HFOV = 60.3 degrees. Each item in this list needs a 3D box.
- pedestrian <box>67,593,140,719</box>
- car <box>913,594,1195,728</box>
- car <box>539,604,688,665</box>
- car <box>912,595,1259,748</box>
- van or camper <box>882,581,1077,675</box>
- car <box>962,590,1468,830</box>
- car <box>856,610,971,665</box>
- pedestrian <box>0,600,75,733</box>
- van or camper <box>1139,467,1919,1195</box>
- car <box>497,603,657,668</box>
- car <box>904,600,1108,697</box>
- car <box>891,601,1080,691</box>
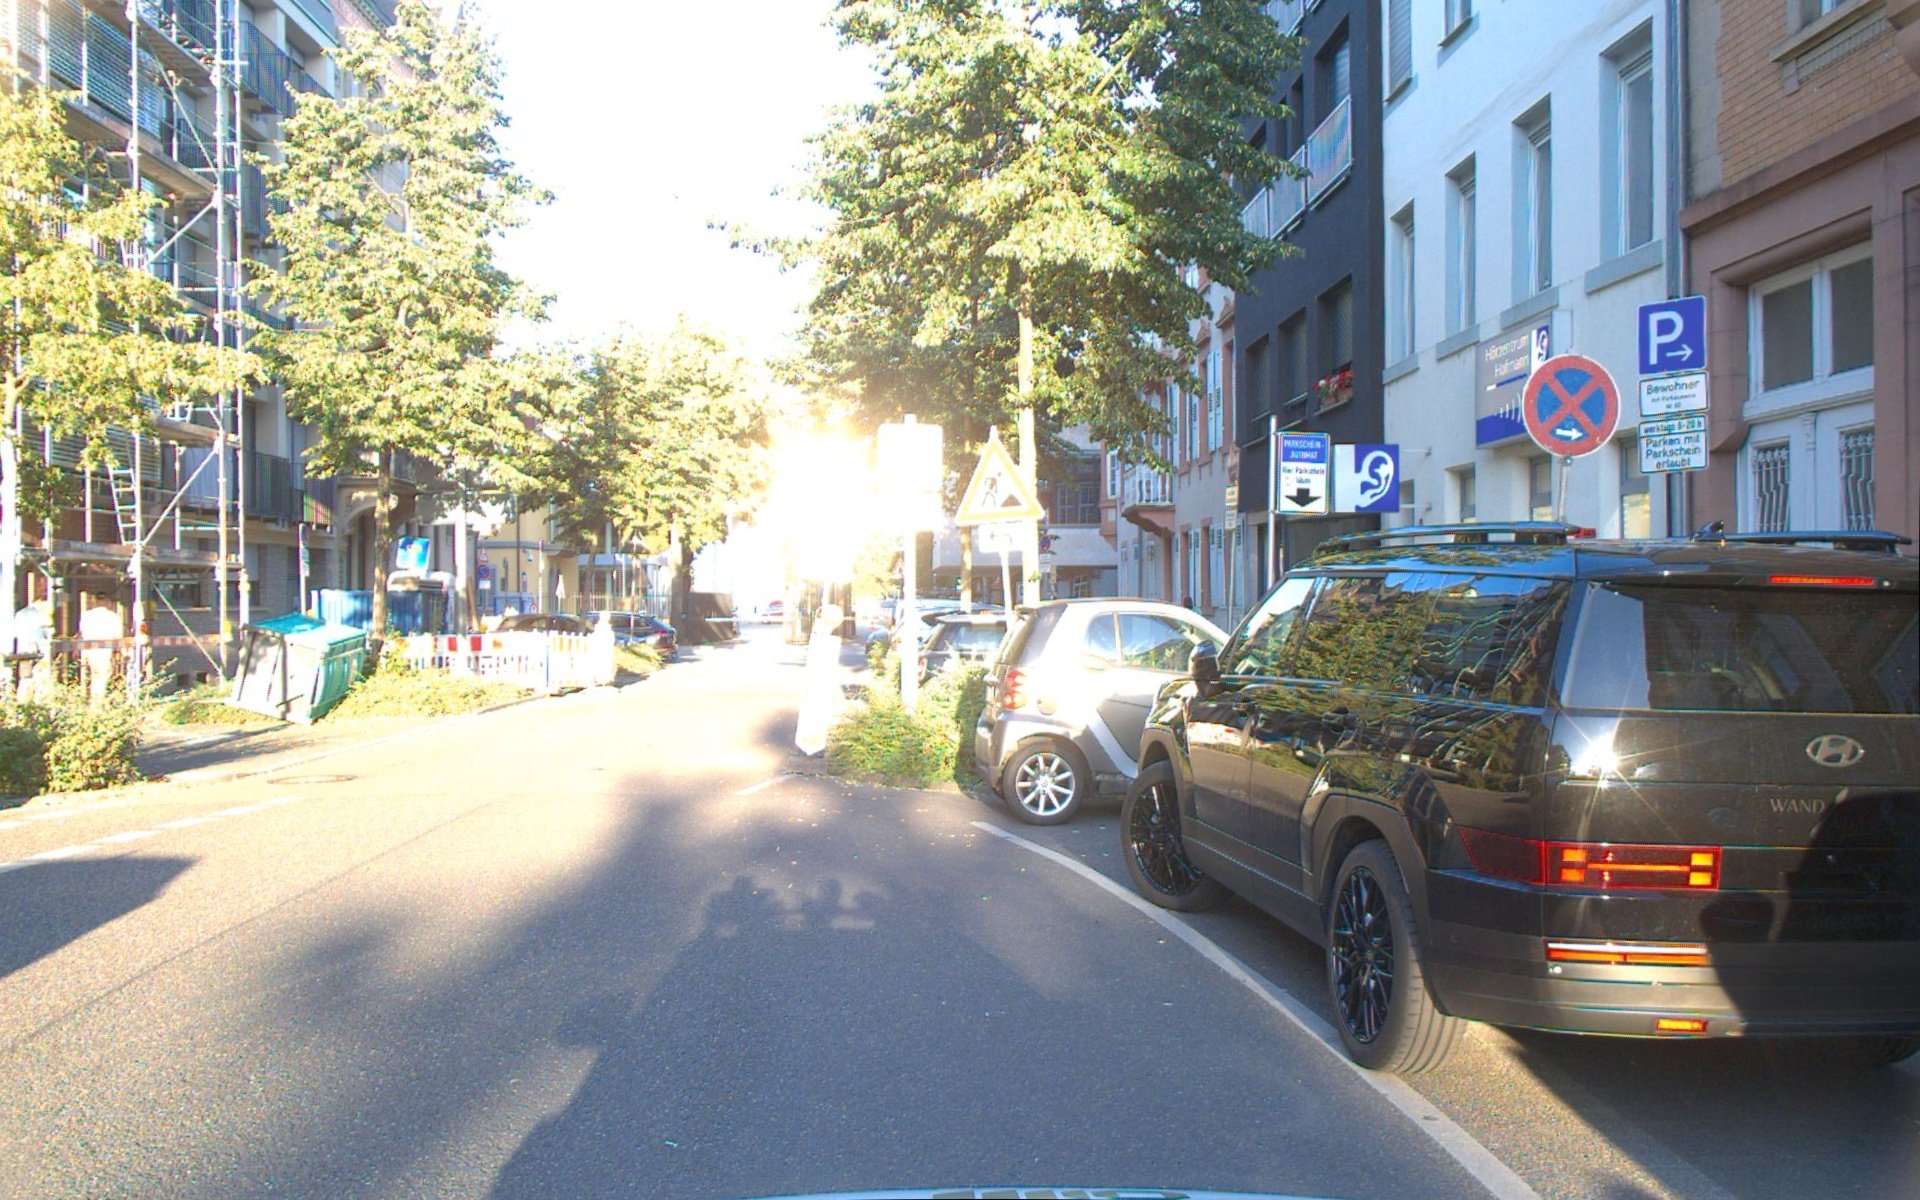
[{"bbox_3d":[-12.636,0.819,24.422,0.726,1.814,0.656,-1,0,-4],"label":"pedestrian"},{"bbox_3d":[1.210,0.807,22.476,3.612,1.699,1.857,1,0,-4],"label":"car"},{"bbox_3d":[-9.968,0.972,47.802,3.905,1.713,1.891,0,0,0],"label":"car"},{"bbox_3d":[1.432,0.830,19.886,3.917,1.699,1.857,1,0,-4],"label":"car"},{"bbox_3d":[0.406,0.647,38.129,4.352,2.041,1.857,1,0,-4],"label":"van or camper"},{"bbox_3d":[1.820,0.742,12.242,3.407,1.603,1.504,0,0,-11],"label":"car"},{"bbox_3d":[-1.393,1.129,50.543,1.818,1.595,3.689,1,0,31],"label":"car"},{"bbox_3d":[-12.952,0.919,23.183,0.726,1.814,0.656,-1,0,-2],"label":"pedestrian"},{"bbox_3d":[2.123,0.590,6.518,1.854,1.839,4.453,0,0,-7],"label":"van or camper"},{"bbox_3d":[-10.401,0.944,45.107,3.905,1.713,1.891,0,0,0],"label":"car"},{"bbox_3d":[0.799,0.881,30.742,3.612,1.699,1.857,1,0,-4],"label":"car"},{"bbox_3d":[0.473,0.897,33.020,3.612,1.699,1.857,1,0,-4],"label":"car"}]
